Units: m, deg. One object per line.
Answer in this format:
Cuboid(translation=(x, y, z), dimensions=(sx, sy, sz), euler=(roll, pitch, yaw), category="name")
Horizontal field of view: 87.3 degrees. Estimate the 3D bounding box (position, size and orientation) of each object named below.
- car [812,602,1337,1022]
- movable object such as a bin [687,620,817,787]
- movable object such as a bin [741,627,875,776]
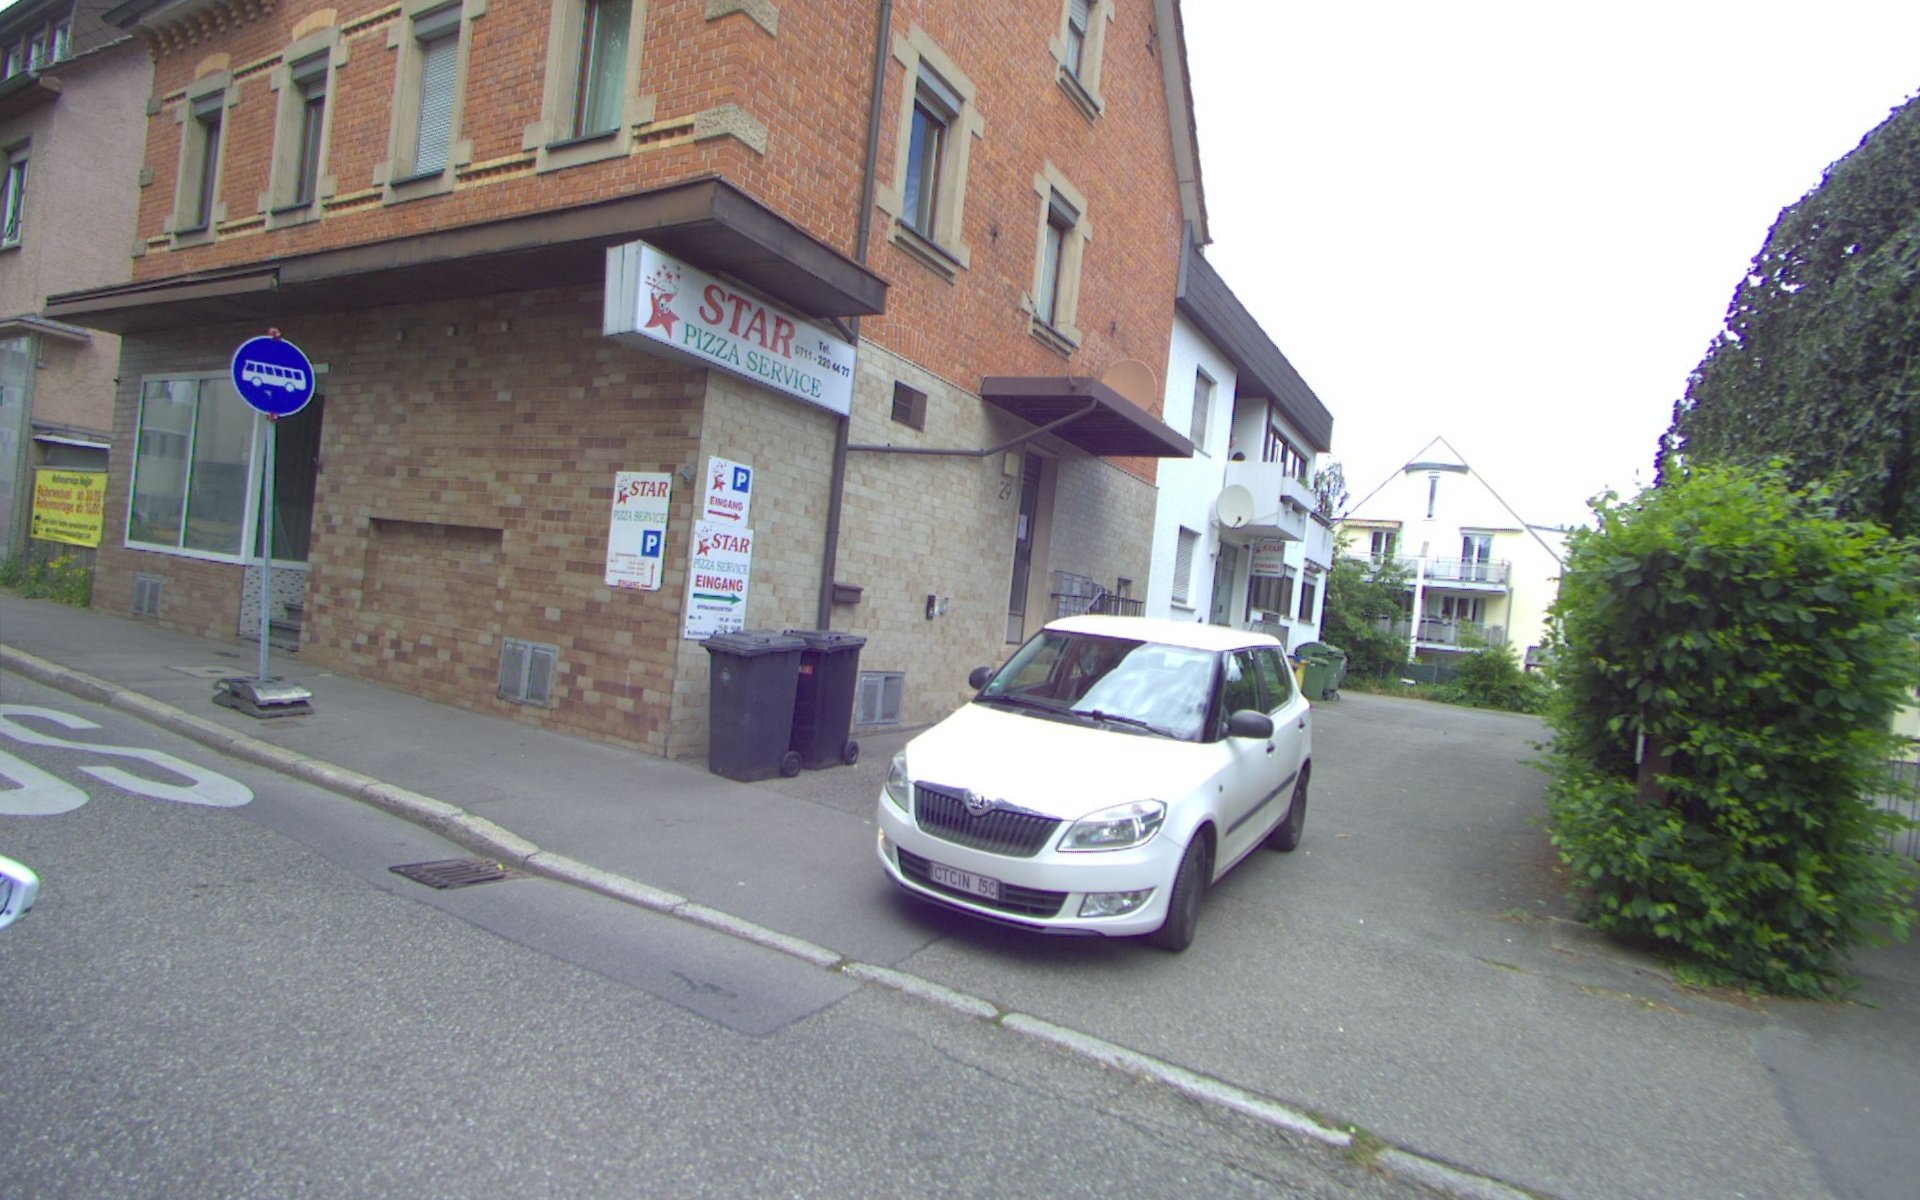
Cuboid(translation=(1.026, 0.825, 5.985), dimensions=(1.574, 1.490, 4.029), euler=(6, 3, 29), category="car")
Cuboid(translation=(-1.531, 0.739, 7.441), dimensions=(0.612, 1.115, 0.606), euler=(6, 2, 31), category="movable object such as a bin")
Cuboid(translation=(-1.218, 0.791, 8.106), dimensions=(0.711, 1.073, 0.699), euler=(6, 2, 31), category="movable object such as a bin")
